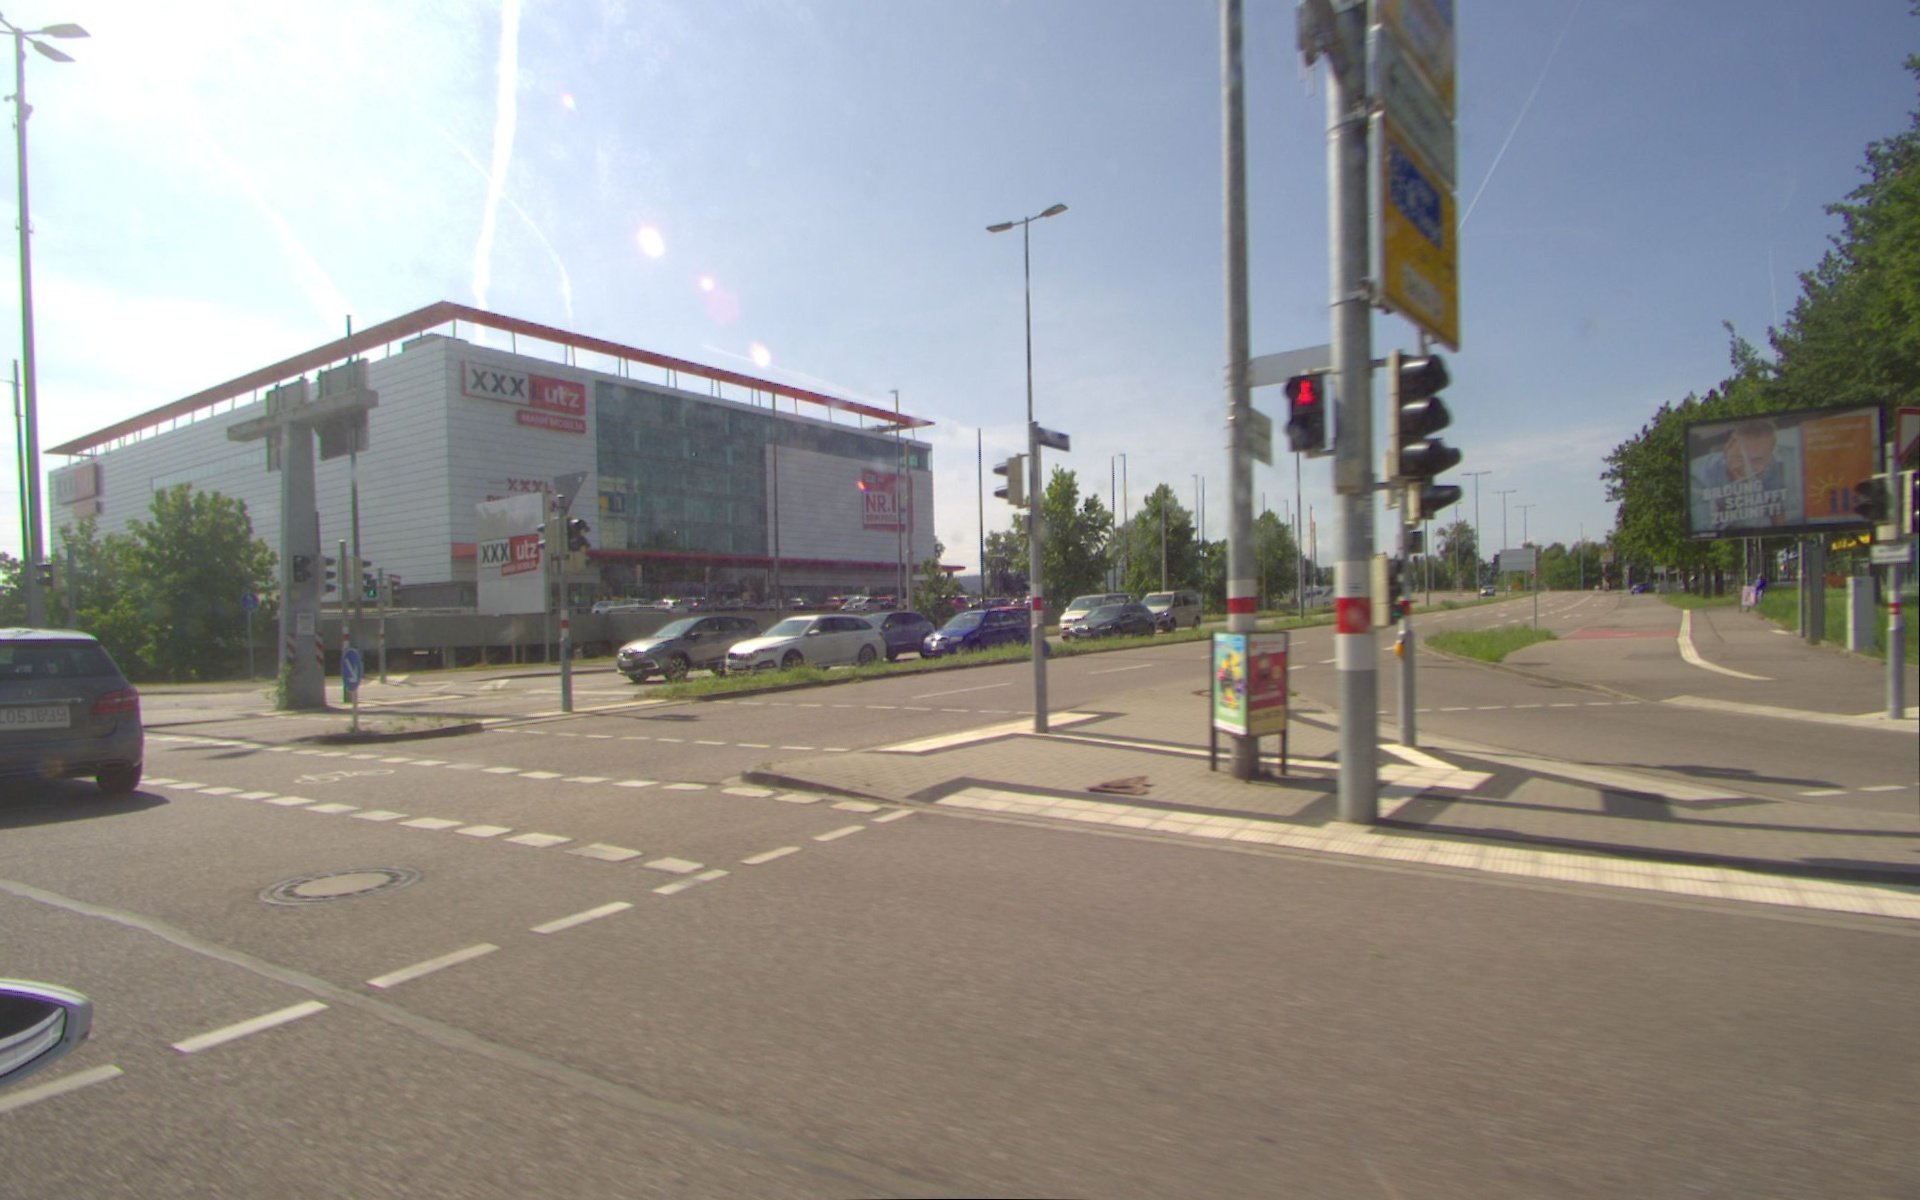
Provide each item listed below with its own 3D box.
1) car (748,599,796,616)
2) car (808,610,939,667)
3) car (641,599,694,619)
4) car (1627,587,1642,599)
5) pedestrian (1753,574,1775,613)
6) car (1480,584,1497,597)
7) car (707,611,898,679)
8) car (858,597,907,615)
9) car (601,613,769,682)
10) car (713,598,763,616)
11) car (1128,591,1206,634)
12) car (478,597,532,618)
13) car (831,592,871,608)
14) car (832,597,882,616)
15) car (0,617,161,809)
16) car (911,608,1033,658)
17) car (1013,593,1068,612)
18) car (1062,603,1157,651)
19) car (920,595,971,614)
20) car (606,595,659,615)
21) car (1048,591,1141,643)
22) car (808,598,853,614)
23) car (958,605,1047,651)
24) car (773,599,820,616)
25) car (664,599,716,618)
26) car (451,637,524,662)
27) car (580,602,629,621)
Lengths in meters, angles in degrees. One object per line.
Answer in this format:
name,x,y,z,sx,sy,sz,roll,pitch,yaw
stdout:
car,-16.692,0.645,88.969,4.144,1.438,1.799,-2,-1,35
car,-2.624,1.168,31.122,1.884,1.528,4.015,-3,-1,35
car,-22.979,0.724,78.596,4.145,1.438,1.826,-2,-1,36
car,89.167,-0.888,132.347,1.619,1.555,3.892,-1,-1,35
pedestrian,43.159,-0.338,53.744,0.670,2.038,0.600,-1,-3,19
car,77.061,-1.365,145.985,1.859,1.706,3.975,-2,1,34
car,-3.797,1.081,24.925,1.934,1.444,4.701,-3,-1,36
car,-6.648,0.481,85.375,3.957,1.438,1.734,-2,-1,36
car,-6.942,1.157,25.601,1.786,1.579,3.871,-2,-1,37
car,-18.918,0.619,85.152,4.145,1.438,1.894,-2,-1,36
car,10.082,0.595,48.565,1.890,1.960,4.759,-3,-2,36
car,-33.407,0.580,73.459,4.145,1.438,1.765,-2,-1,36
car,-11.496,0.018,105.922,4.145,1.642,1.679,-2,-1,36
car,-8.605,0.559,83.518,4.145,1.438,1.679,-2,-1,36
car,-9.396,0.986,9.486,4.082,1.558,1.769,-2,-2,35
car,0.427,0.979,30.272,1.701,1.359,4.032,-2,-1,35
car,6.495,0.194,80.725,4.145,1.438,1.679,-2,-1,36
car,5.555,0.956,36.782,1.663,1.641,4.101,-1,-1,38
car,-1.228,0.394,84.806,4.052,1.438,1.784,-2,-1,33
car,-25.082,0.398,76.711,3.952,1.438,1.795,-2,-1,33
car,5.824,0.697,42.896,1.938,2.001,4.658,-3,-1,36
car,-12.329,0.614,95.220,4.145,1.438,1.784,-2,-1,36
car,1.593,0.998,36.663,1.578,1.596,3.457,-1,0,37
car,-14.852,0.660,90.781,4.145,1.438,1.730,-2,-1,36
car,-21.934,0.673,81.262,4.145,1.438,1.866,-2,-1,36
car,-30.670,3.178,65.108,1.772,1.542,4.109,-1,-2,28
car,-29.391,0.936,82.787,3.858,1.438,1.682,-2,-1,30
